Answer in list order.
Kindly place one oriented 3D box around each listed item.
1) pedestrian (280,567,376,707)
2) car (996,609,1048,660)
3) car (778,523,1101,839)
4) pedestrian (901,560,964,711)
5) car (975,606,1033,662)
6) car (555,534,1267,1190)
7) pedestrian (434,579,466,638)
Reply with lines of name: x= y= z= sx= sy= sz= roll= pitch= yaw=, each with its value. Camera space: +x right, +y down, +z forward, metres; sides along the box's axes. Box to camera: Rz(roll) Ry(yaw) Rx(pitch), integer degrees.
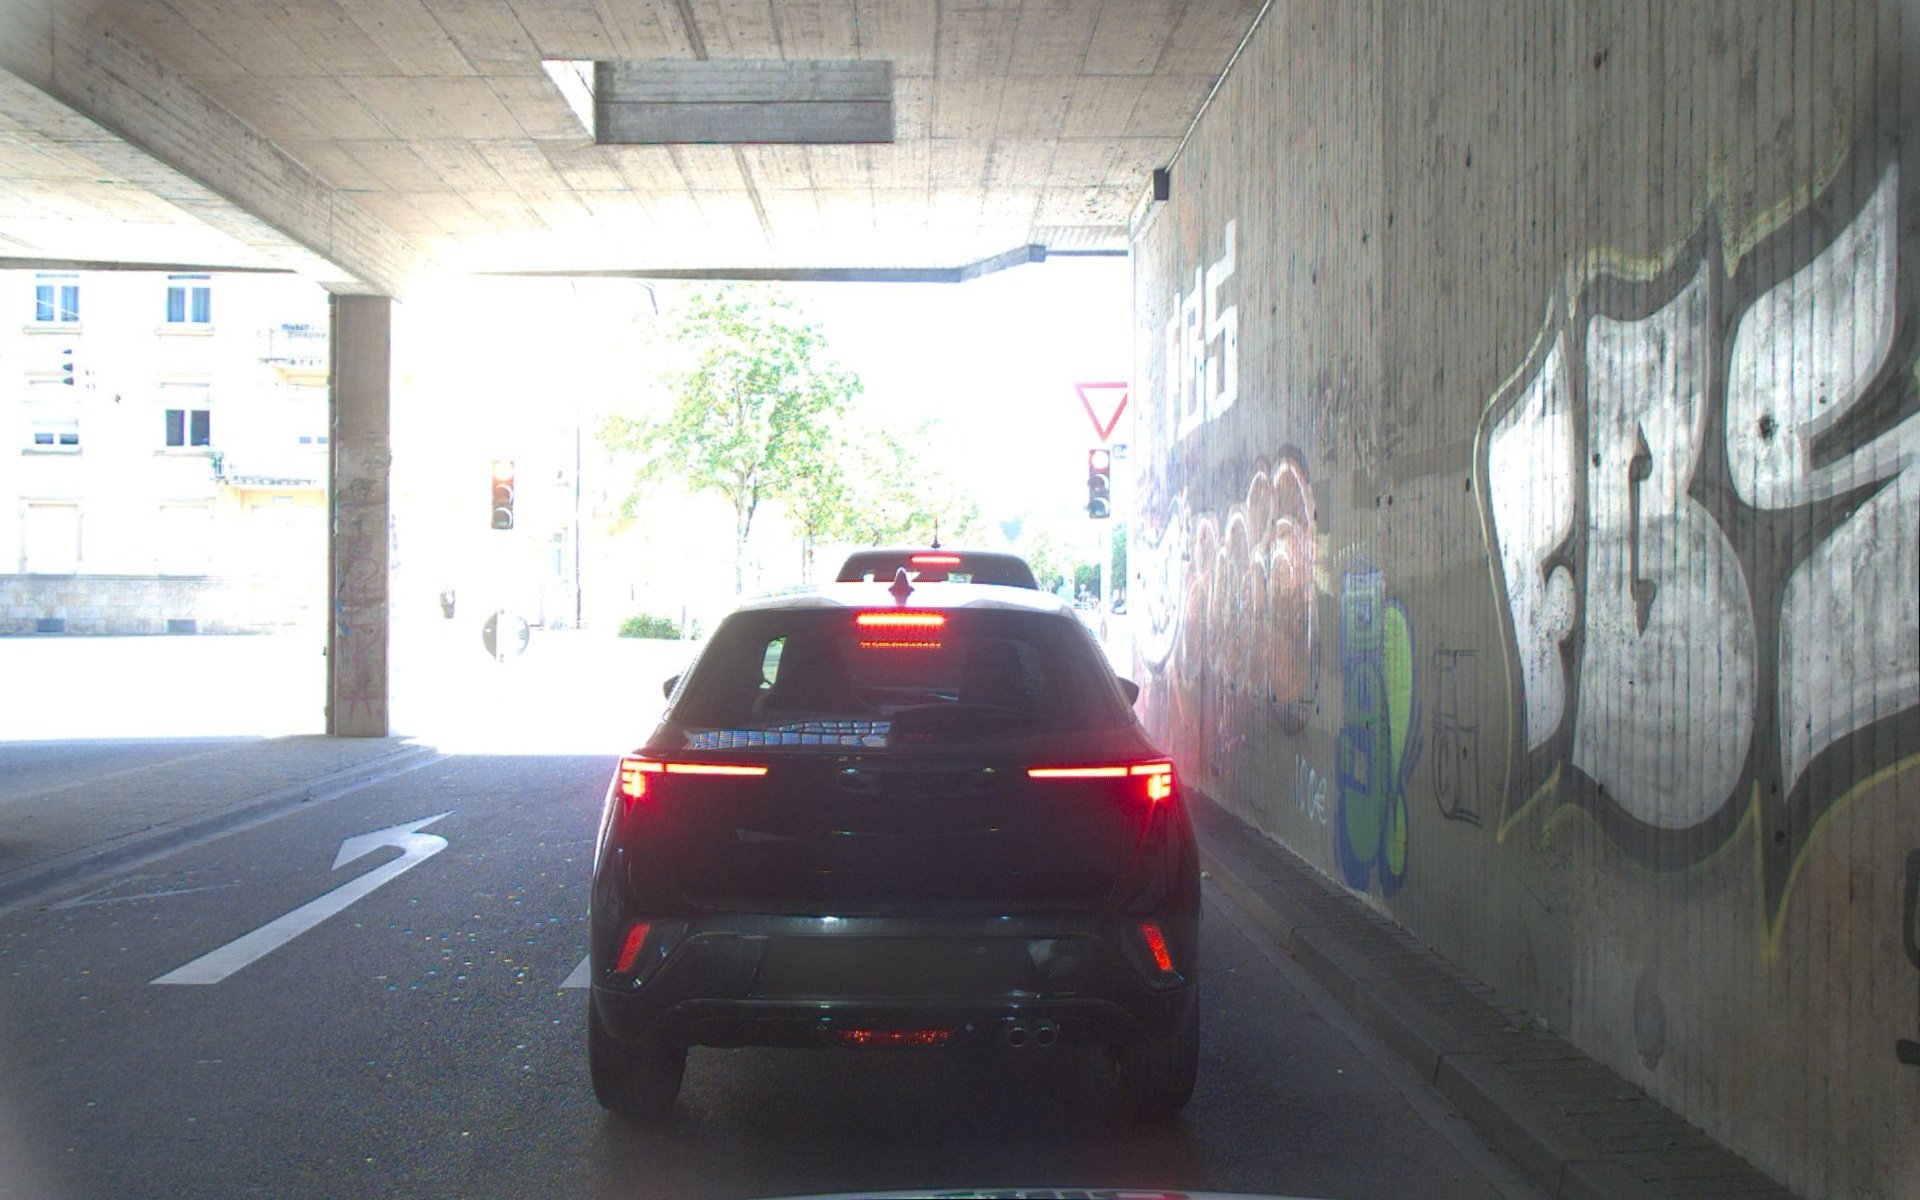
pedestrian: x=-8.295 y=0.481 z=21.723 sx=0.910 sy=1.792 sz=0.794 roll=1 pitch=-1 yaw=1
car: x=2.599 y=1.411 z=68.434 sx=1.951 sy=2.004 sz=4.166 roll=1 pitch=0 yaw=4
car: x=-0.152 y=0.475 z=12.018 sx=1.953 sy=1.904 sz=3.999 roll=0 pitch=0 yaw=-1
pedestrian: x=-0.328 y=0.417 z=19.865 sx=0.716 sy=1.764 sz=0.874 roll=1 pitch=-1 yaw=-1
car: x=1.695 y=1.257 z=62.279 sx=1.951 sy=2.004 sz=4.166 roll=1 pitch=0 yaw=4
car: x=-0.148 y=0.607 z=6.081 sx=1.729 sy=1.598 sz=4.000 roll=1 pitch=1 yaw=-1
pedestrian: x=-14.645 y=0.248 z=47.474 sx=0.658 sy=1.666 sz=0.740 roll=1 pitch=-1 yaw=-1
